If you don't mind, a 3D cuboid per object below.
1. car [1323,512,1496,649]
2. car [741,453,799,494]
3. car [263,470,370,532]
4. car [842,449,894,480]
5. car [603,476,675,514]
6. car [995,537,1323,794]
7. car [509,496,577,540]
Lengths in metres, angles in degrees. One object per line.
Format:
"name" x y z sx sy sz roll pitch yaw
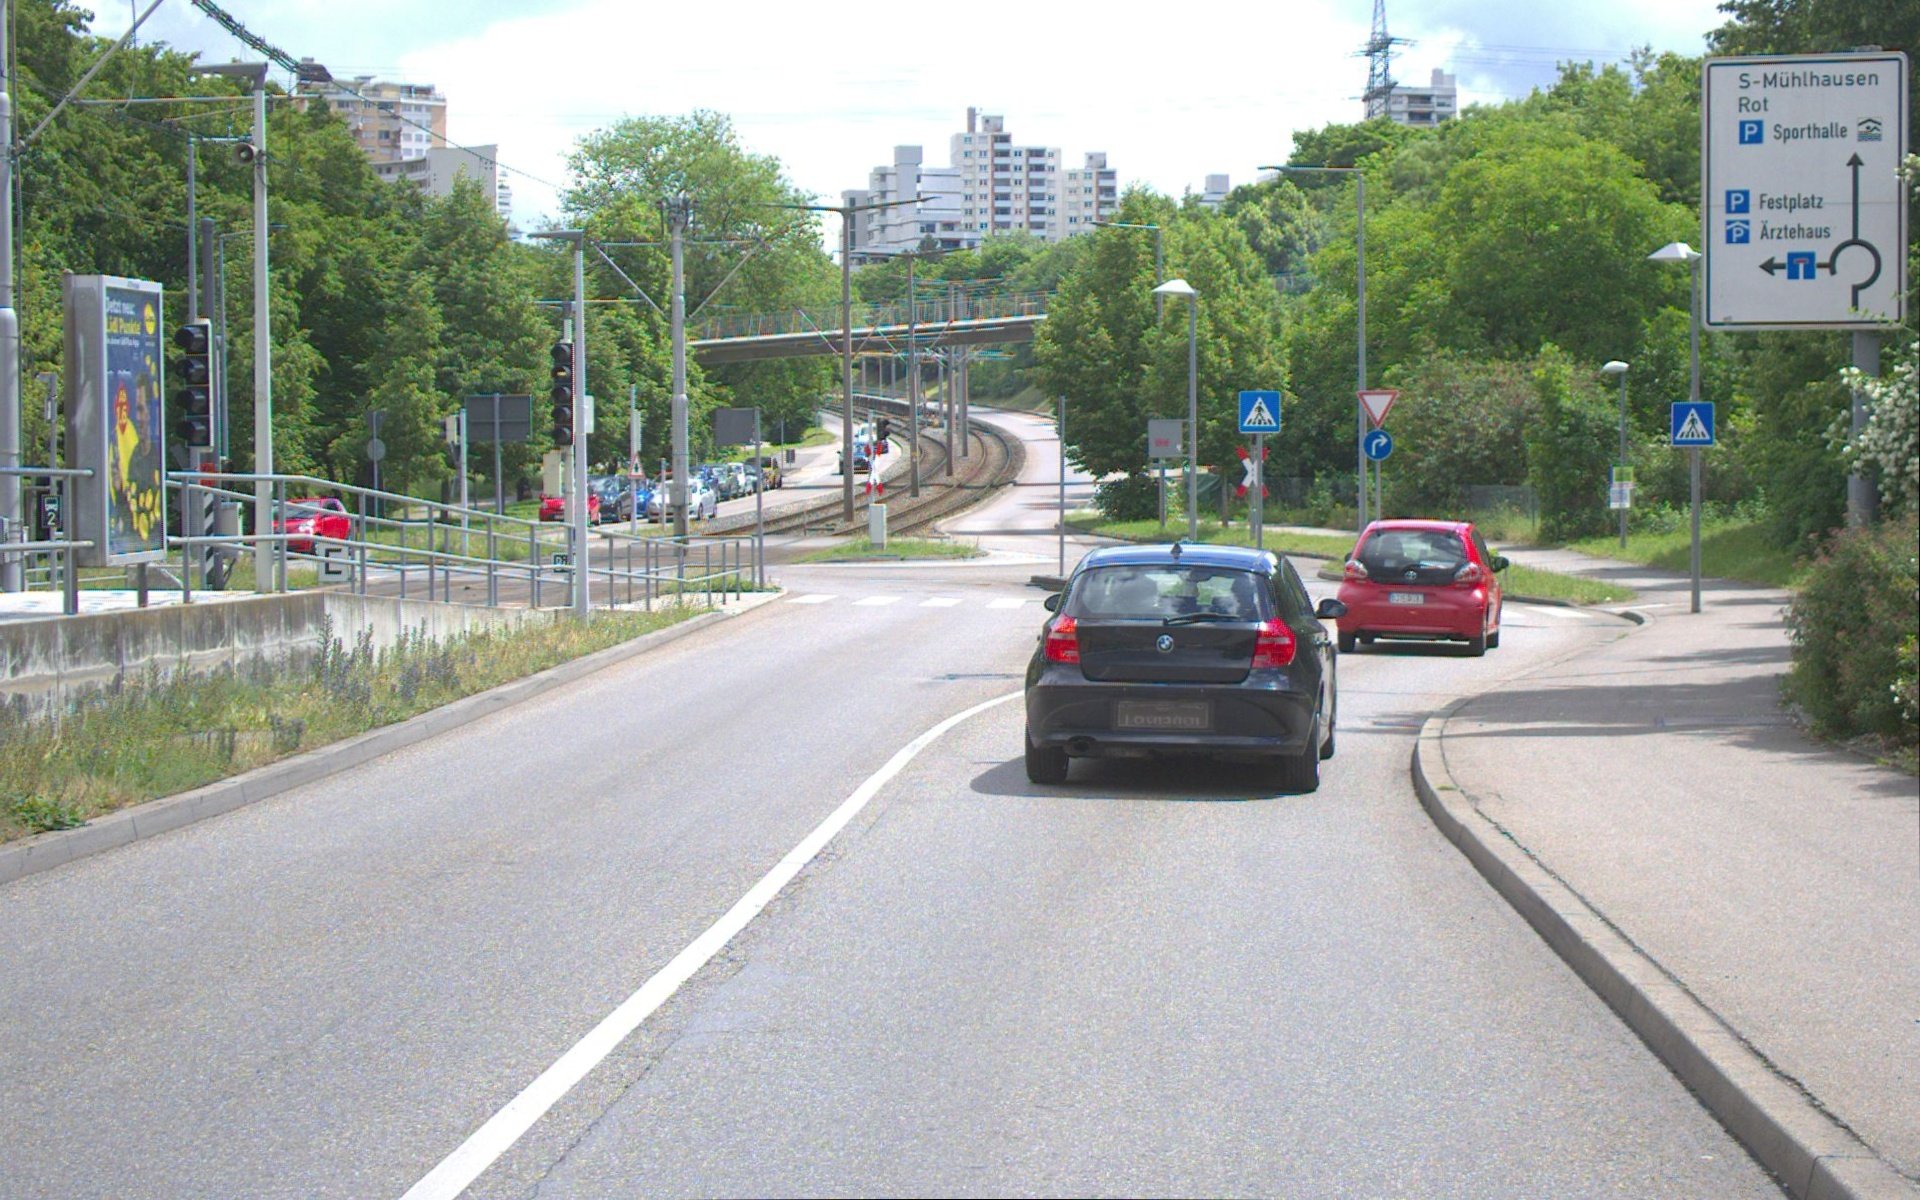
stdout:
"car" 5.052 -0.245 38.304 1.766 1.427 3.477 -1 1 10
"car" -8.765 -5.878 159.195 1.994 1.856 4.000 0 3 7
"car" -15.869 -2.450 84.896 1.720 1.497 2.966 0 2 8
"car" -4.880 -7.168 182.343 1.994 1.591 4.418 0 2 9
"car" -11.418 -3.756 122.490 1.806 1.249 3.567 0 3 7
"car" 1.241 0.338 21.263 1.815 1.416 4.000 -1 1 4
"car" -13.468 -2.655 111.174 1.528 1.366 3.597 0 2 4
